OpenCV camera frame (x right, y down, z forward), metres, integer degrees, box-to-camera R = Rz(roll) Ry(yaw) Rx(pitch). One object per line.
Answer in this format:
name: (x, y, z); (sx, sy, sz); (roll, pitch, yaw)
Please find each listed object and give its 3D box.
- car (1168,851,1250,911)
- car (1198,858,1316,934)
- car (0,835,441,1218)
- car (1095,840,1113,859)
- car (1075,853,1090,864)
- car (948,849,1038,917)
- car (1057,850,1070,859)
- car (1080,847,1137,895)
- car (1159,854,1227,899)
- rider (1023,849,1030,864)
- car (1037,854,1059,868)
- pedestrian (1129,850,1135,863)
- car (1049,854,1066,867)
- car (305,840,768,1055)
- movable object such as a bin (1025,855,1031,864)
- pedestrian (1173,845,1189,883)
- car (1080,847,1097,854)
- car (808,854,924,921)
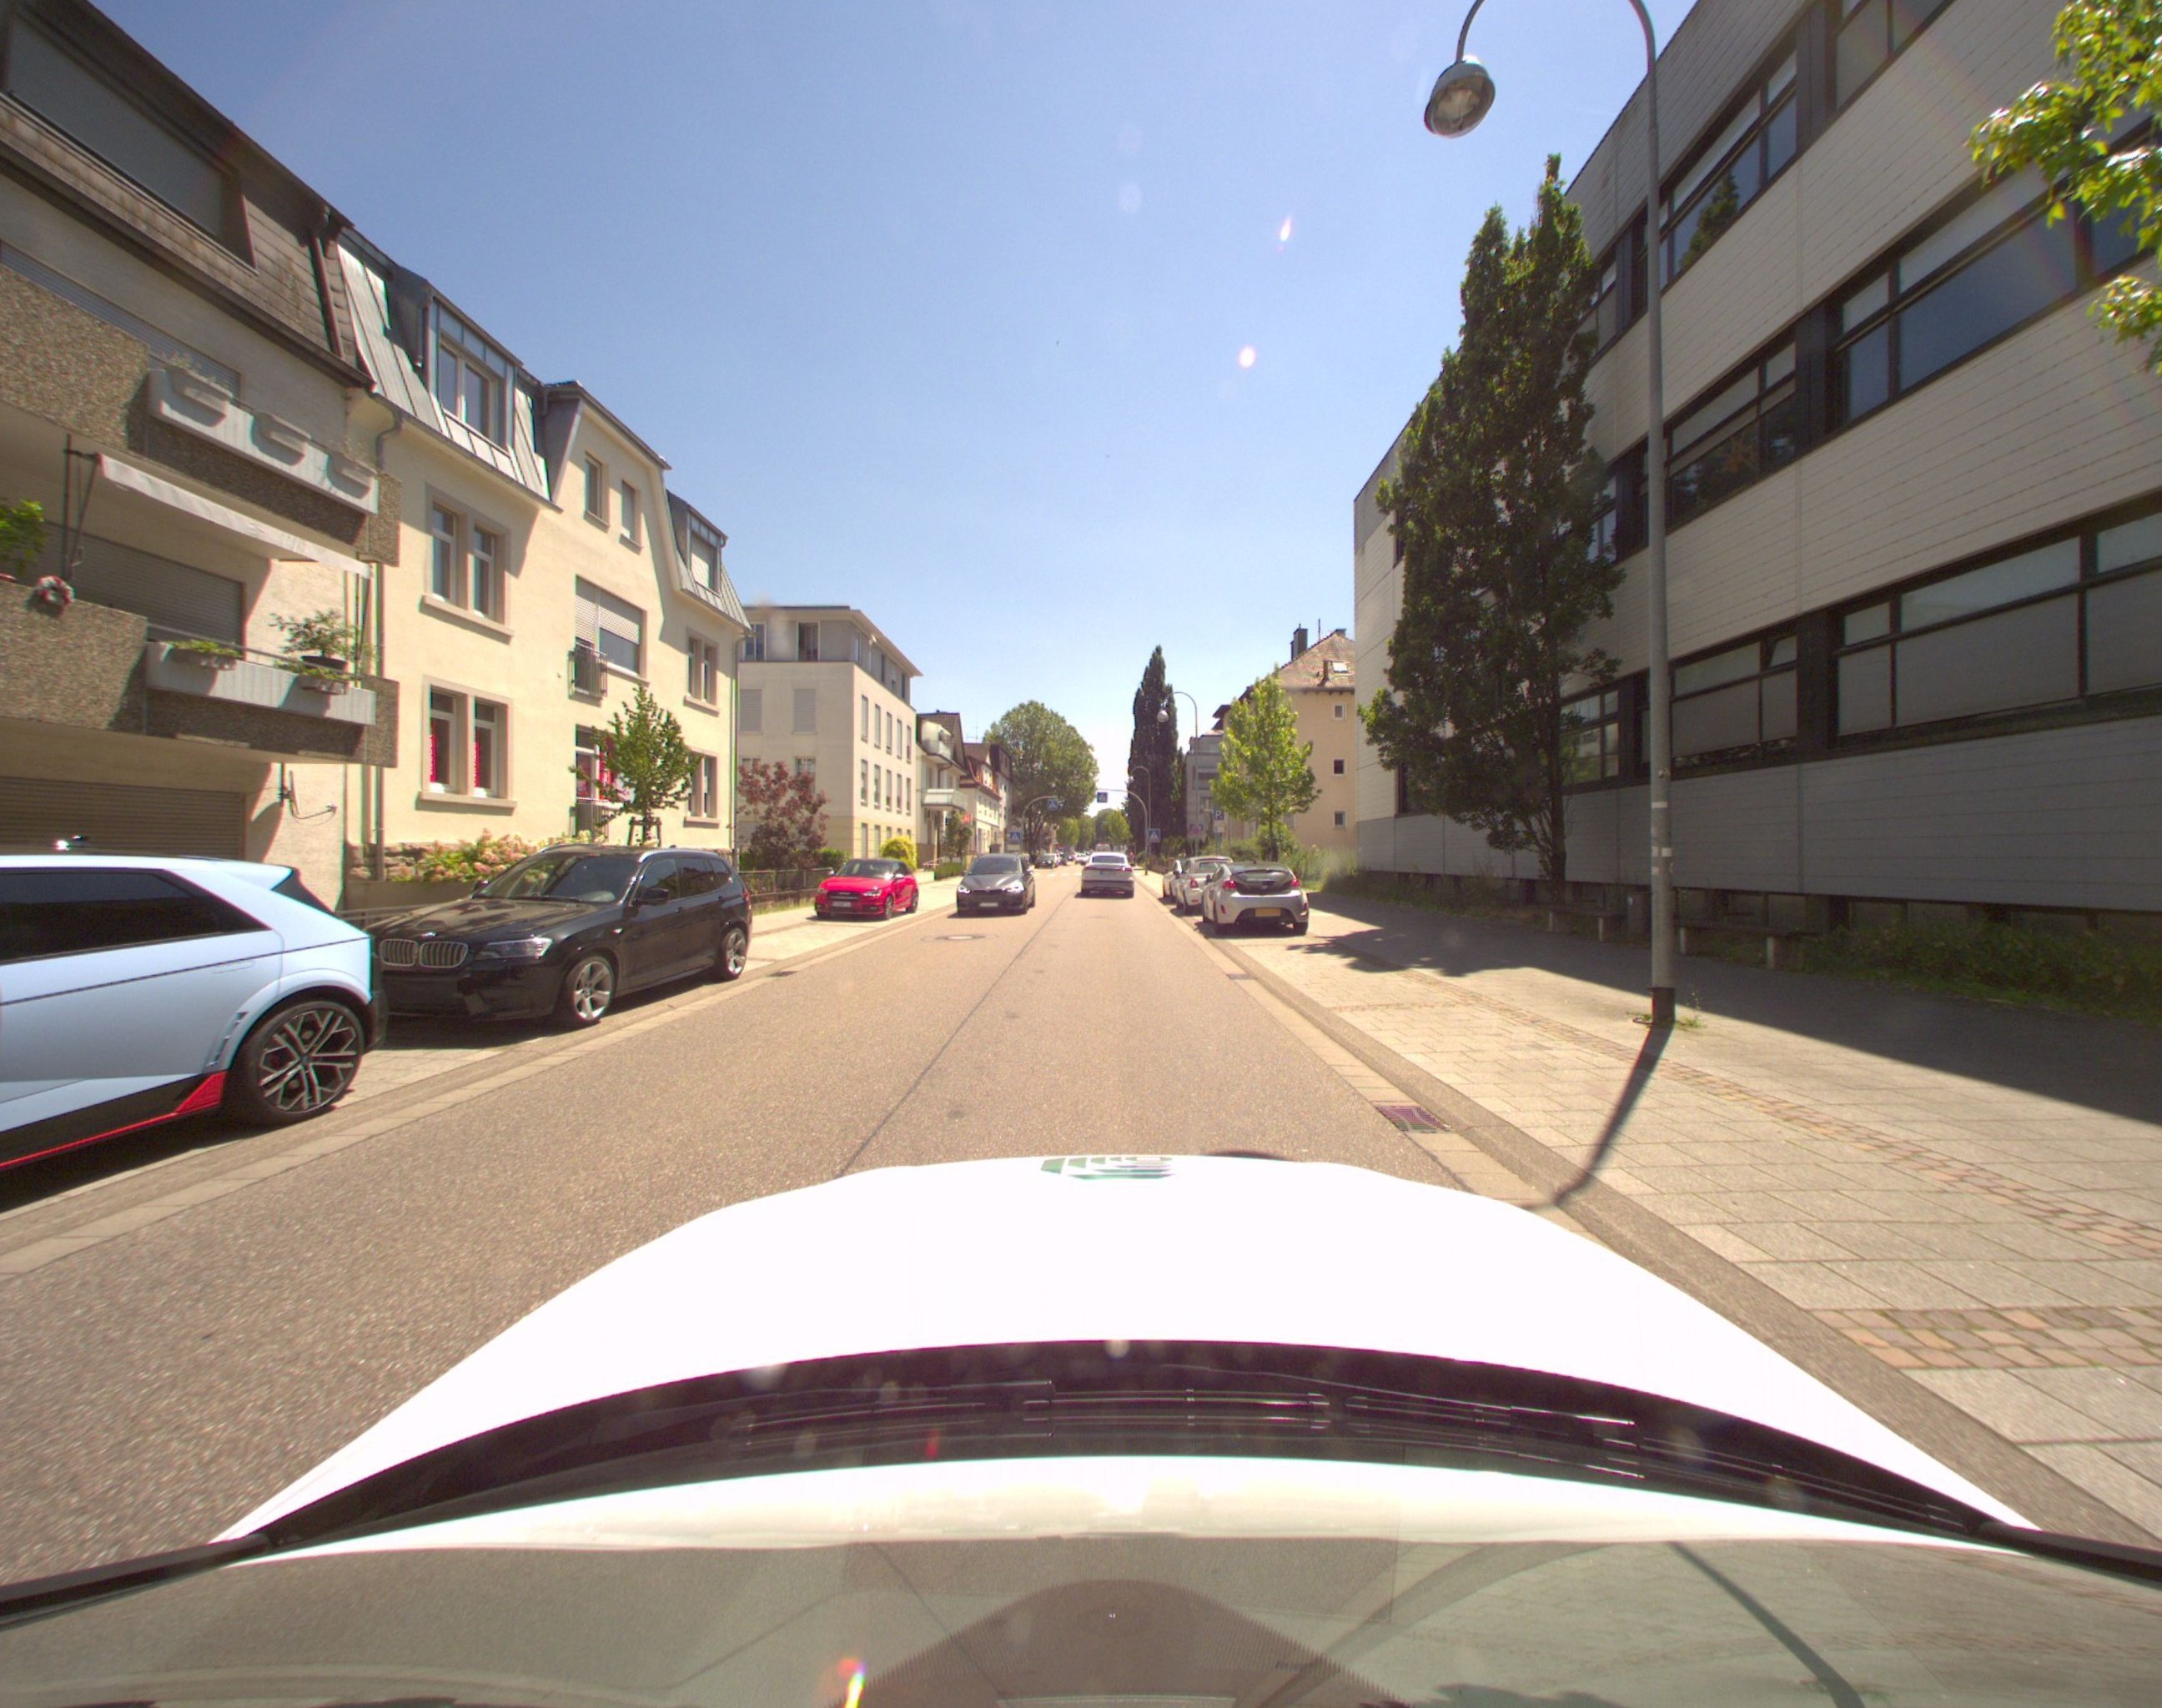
car: (3.490, 0.691, 22.929); (1.653, 1.488, 4.346); (-2, 0, 1)
car: (3.580, 0.803, 17.272); (1.854, 1.373, 4.004); (-1, 0, 3)
car: (-5.519, 0.716, 3.346); (1.918, 1.573, 4.661); (3, 0, 2)
car: (2.761, -0.584, 99.896); (2.063, 2.197, 5.137); (1, 0, 0)
car: (0.206, 0.660, 112.937); (1.972, 1.520, 4.000); (0, 0, 0)
car: (-2.301, 0.719, 22.438); (1.967, 1.670, 4.471); (0, 0, 0)
car: (-2.976, 0.072, 139.807); (1.987, 1.520, 4.000); (0, 0, 0)
car: (1.046, 0.599, 30.901); (1.929, 1.614, 4.473); (2, 0, 2)
car: (3.742, 0.705, 27.878); (1.720, 1.383, 4.402); (-2, 0, 1)
rider: (-5.802, 0.264, 87.127); (0.659, 1.553, 0.661); (0, 0, 1)
car: (-3.286, 0.634, 81.109); (1.987, 1.349, 4.000); (0, 0, 0)
pedestrian: (6.528, 0.334, 104.038); (0.692, 1.736, 0.667); (0, 0, -3)
car: (-2.966, 0.815, 104.864); (1.987, 1.520, 4.000); (0, 0, 0)
car: (-5.212, 0.735, 8.762); (1.718, 1.619, 4.573); (3, 0, 2)
movable object such as a bin: (-5.753, 0.560, 87.734); (0.585, 0.952, 0.567); (0, 0, 1)
pedestrian: (4.681, 0.469, 38.140); (0.636, 1.758, 0.616); (0, 0, -3)
car: (1.953, -0.871, 205.801); (3.964, 1.651, 2.005); (0, 0, 8)
car: (-5.240, 0.760, 20.375); (1.643, 1.419, 3.908); (3, 0, 3)
